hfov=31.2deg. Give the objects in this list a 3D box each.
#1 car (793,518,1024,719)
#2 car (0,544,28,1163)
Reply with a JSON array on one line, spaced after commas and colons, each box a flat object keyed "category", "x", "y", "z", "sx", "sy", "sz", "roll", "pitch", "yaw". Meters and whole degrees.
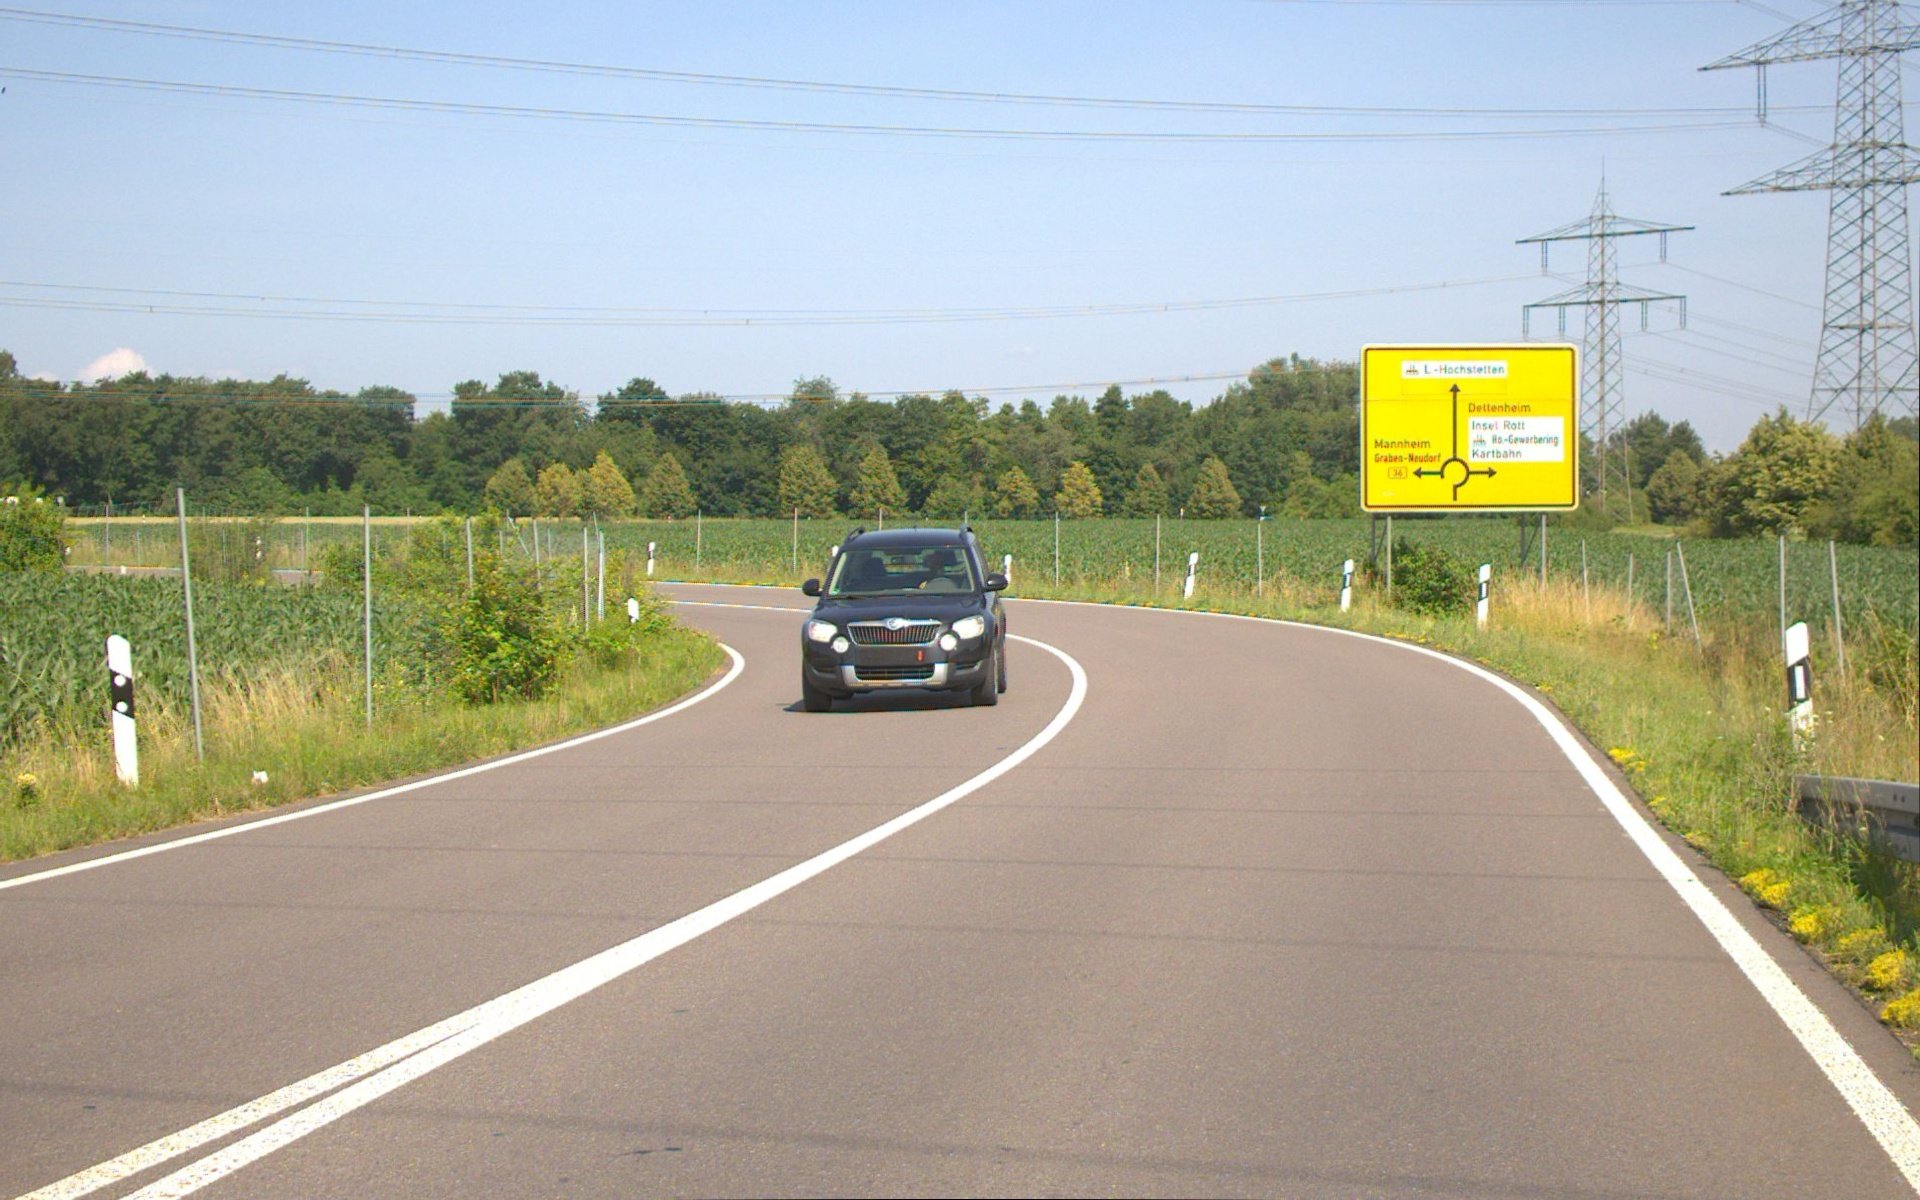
[{"category": "car", "x": -0.498, "y": 0.126, "z": 32.576, "sx": 1.983, "sy": 1.700, "sz": 4.262, "roll": -2, "pitch": 1, "yaw": -1}, {"category": "car", "x": -3.638, "y": 0.642, "z": 6.168, "sx": 1.776, "sy": 1.451, "sz": 4.590, "roll": 0, "pitch": 1, "yaw": 14}]
